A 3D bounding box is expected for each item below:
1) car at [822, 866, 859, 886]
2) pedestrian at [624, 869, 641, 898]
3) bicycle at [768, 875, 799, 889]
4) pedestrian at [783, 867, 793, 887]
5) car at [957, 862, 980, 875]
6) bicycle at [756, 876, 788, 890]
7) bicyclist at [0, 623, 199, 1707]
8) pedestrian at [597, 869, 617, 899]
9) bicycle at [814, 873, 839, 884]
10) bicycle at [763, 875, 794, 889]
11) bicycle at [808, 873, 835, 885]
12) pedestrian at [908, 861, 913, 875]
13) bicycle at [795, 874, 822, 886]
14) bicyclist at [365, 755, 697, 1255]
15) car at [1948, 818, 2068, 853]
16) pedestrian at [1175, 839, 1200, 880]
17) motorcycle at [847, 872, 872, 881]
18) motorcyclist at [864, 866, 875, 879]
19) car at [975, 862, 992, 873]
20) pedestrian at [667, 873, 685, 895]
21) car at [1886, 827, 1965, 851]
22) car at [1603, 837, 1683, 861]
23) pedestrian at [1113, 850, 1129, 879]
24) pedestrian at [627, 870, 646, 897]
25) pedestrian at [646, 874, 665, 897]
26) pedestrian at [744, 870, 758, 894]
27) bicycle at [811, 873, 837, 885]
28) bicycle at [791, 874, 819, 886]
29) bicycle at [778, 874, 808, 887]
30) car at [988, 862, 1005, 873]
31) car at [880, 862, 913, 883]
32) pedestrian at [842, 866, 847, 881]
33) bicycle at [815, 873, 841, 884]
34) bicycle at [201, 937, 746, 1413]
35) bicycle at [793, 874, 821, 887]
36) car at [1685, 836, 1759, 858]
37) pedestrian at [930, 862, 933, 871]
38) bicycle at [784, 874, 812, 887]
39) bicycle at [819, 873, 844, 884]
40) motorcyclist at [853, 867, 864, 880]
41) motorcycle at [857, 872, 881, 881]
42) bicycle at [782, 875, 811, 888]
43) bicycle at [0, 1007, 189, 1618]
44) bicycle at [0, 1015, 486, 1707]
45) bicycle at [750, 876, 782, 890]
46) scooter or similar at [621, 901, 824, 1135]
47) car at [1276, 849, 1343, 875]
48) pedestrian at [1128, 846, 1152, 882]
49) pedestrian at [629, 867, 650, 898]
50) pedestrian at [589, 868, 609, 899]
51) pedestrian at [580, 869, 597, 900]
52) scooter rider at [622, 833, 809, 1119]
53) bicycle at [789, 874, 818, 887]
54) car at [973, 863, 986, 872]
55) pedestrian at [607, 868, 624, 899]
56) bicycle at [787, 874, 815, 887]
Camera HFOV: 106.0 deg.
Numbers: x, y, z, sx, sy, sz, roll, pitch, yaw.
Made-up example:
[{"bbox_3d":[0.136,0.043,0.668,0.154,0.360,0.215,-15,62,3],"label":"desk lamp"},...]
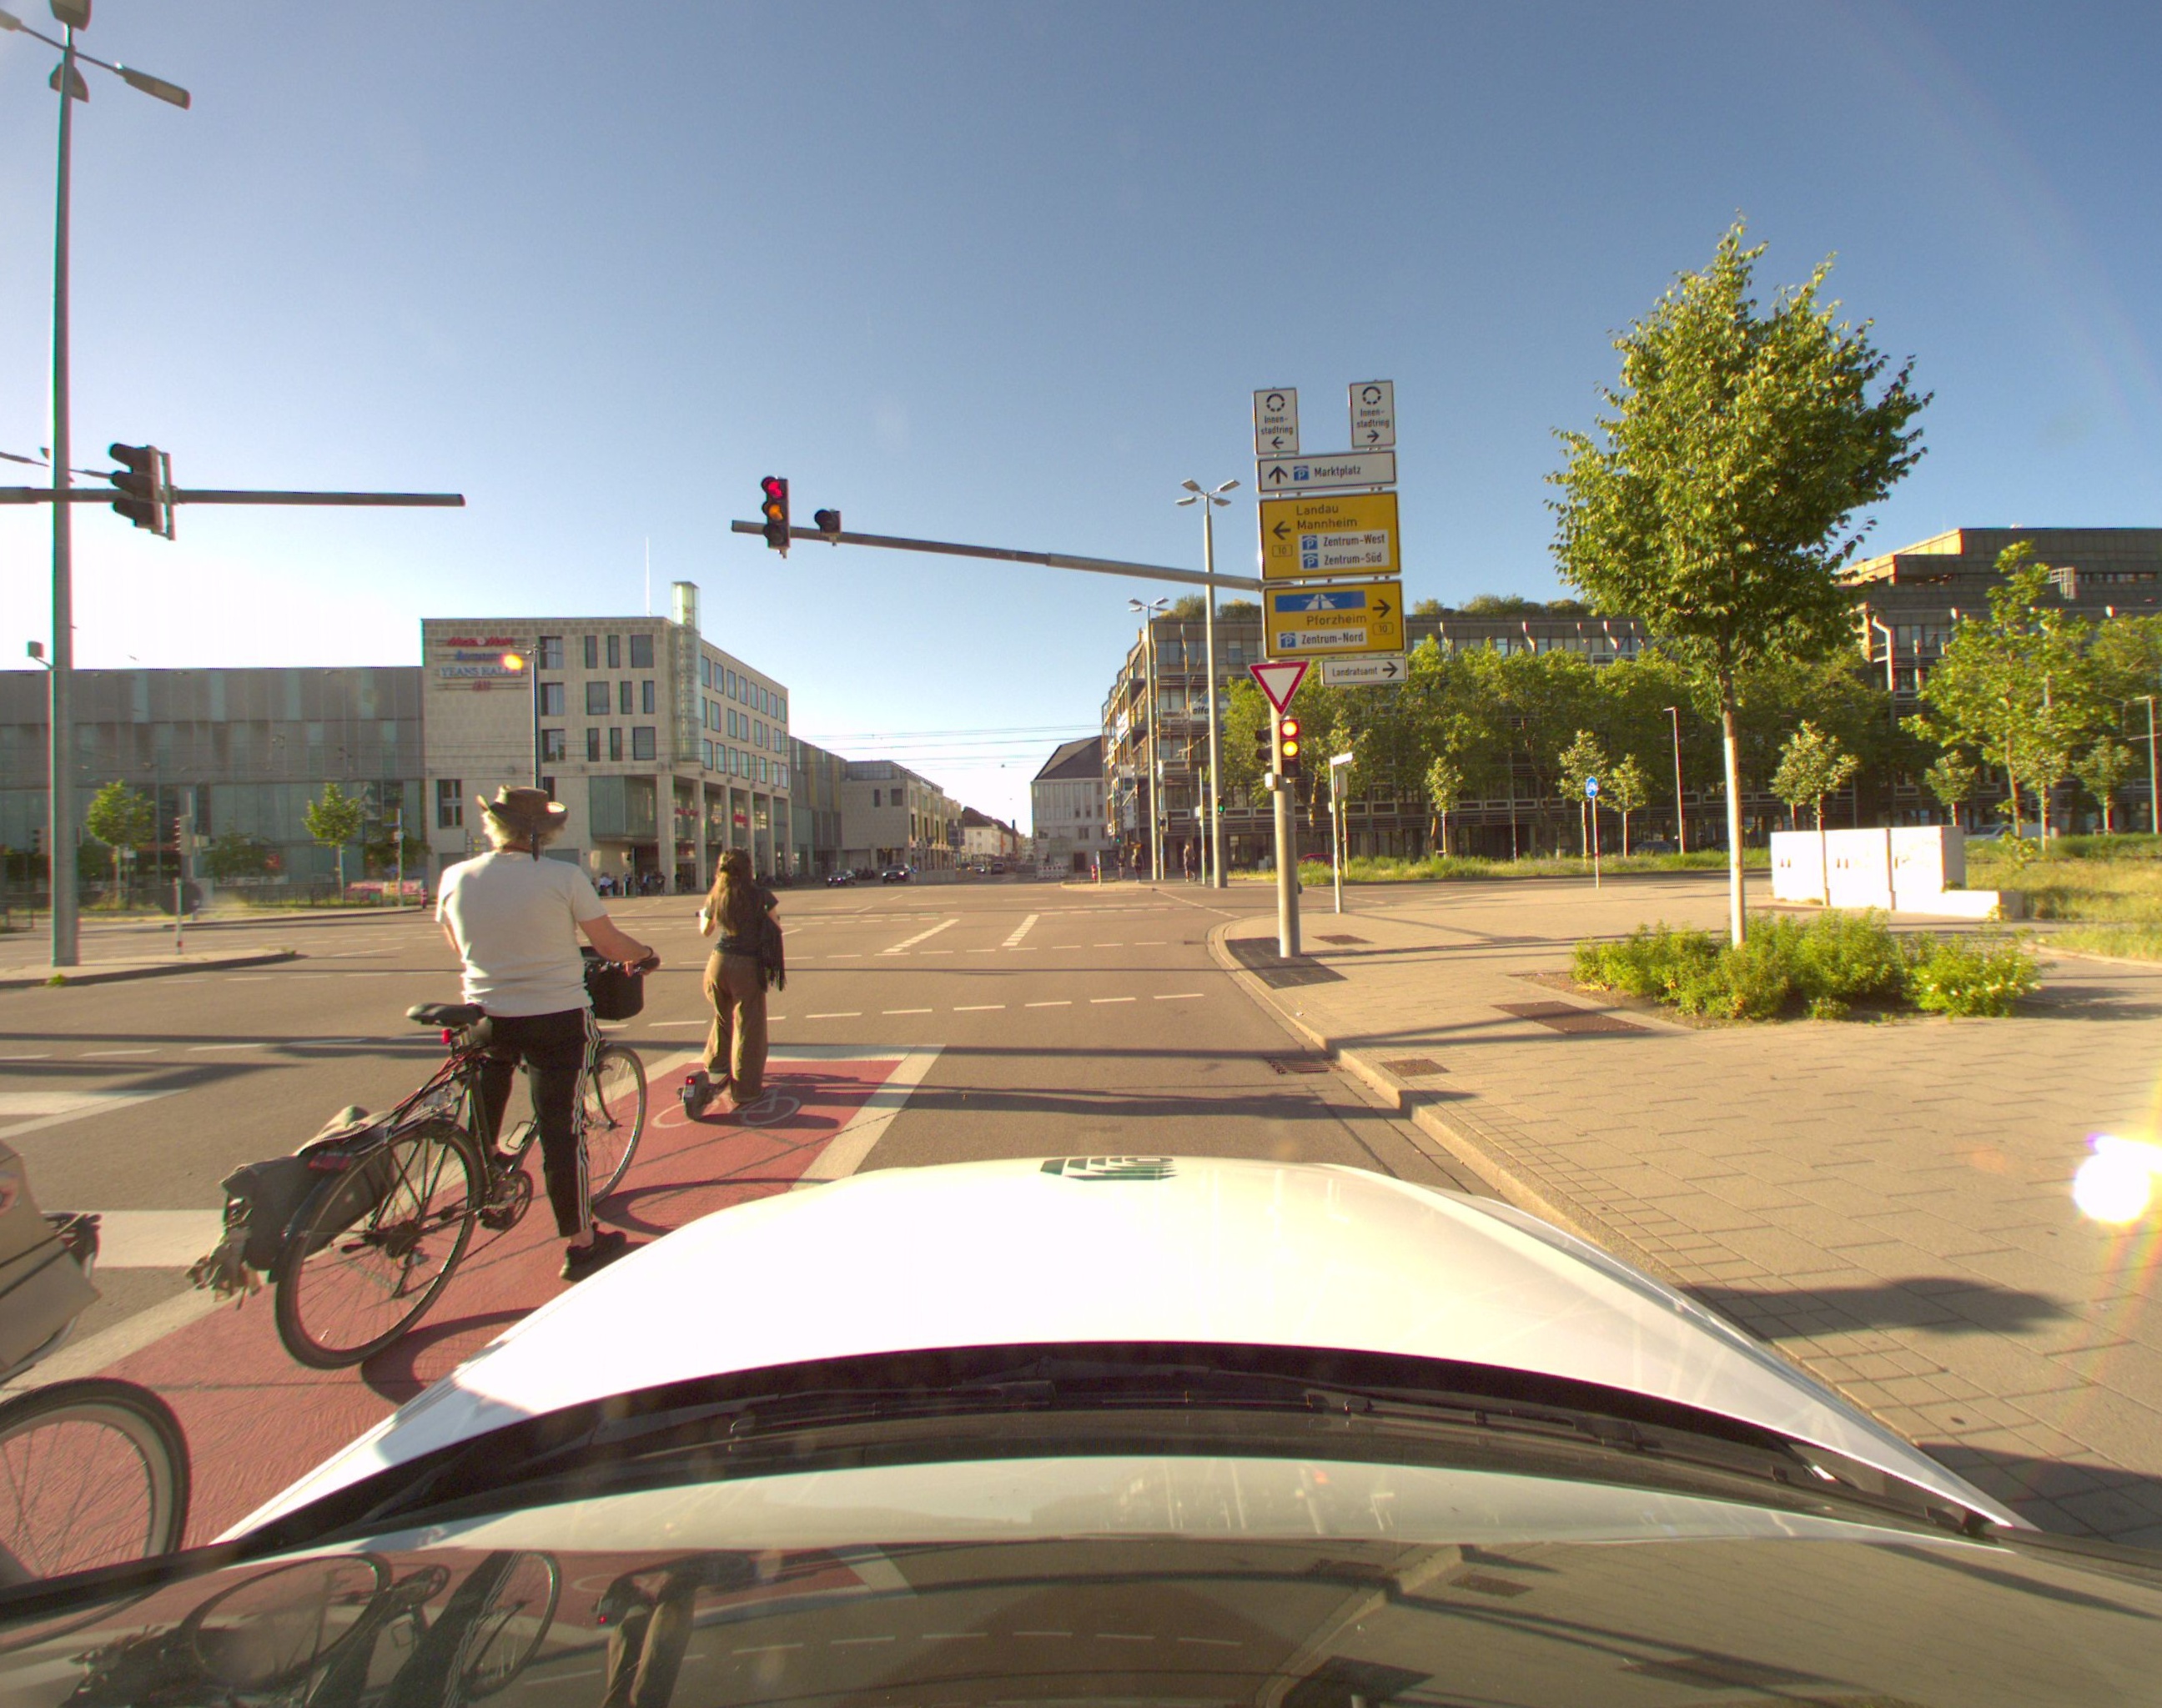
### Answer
[{"bbox_3d":[-20.821,1.893,70.688,1.931,1.581,4.293,-2,0,0],"label":"car"},{"bbox_3d":[-32.551,2.122,59.106,0.921,2.014,1.013,-1,-1,-33],"label":"pedestrian"},{"bbox_3d":[-26.611,2.481,72.875,2.458,1.111,0.684,-2,0,2],"label":"bicycle"},{"bbox_3d":[-30.285,2.347,84.131,0.949,1.982,1.000,-1,-1,-23],"label":"pedestrian"},{"bbox_3d":[-15.207,1.961,110.597,2.166,1.692,5.488,-2,-1,1],"label":"car"},{"bbox_3d":[-26.816,2.490,70.704,2.458,1.111,0.684,-2,0,2],"label":"bicycle"},{"bbox_3d":[-1.697,0.483,0.819,0.648,1.543,0.847,-2,0,1],"label":"bicyclist"},{"bbox_3d":[-34.099,2.167,58.602,0.896,2.124,0.943,-2,-1,-11],"label":"pedestrian"},{"bbox_3d":[-26.921,2.614,86.138,2.458,1.111,0.661,-2,0,2],"label":"bicycle"},{"bbox_3d":[-26.731,2.490,72.068,2.457,1.111,0.685,-2,0,4],"label":"bicycle"},{"bbox_3d":[-26.995,2.607,84.635,2.458,1.111,0.835,-2,0,2],"label":"bicycle"},{"bbox_3d":[-24.556,2.017,117.296,0.616,2.014,0.476,0,-1,-13],"label":"pedestrian"},{"bbox_3d":[-27.194,2.576,81.274,2.458,1.111,0.835,-2,0,2],"label":"bicycle"},{"bbox_3d":[-2.054,0.510,3.159,0.697,1.669,0.786,-2,0,0],"label":"bicyclist"},{"bbox_3d":[61.699,-1.243,54.245,5.680,2.014,2.262,-2,-2,-5],"label":"car"},{"bbox_3d":[4.678,0.226,35.811,0.854,1.744,0.737,-2,0,-7],"label":"pedestrian"},{"bbox_3d":[-25.916,2.665,95.141,2.664,0.996,0.914,0,-1,-6],"label":"motorcycle"},{"bbox_3d":[-25.602,2.265,98.605,1.135,1.575,0.914,0,-1,-5],"label":"motorcyclist"},{"bbox_3d":[-15.826,2.178,132.315,2.168,1.692,5.612,-2,-1,-1],"label":"car"},{"bbox_3d":[-29.193,2.148,58.668,0.950,1.571,0.832,-1,-1,-39],"label":"pedestrian"},{"bbox_3d":[64.810,-1.145,62.517,4.255,1.596,1.864,-2,-1,-4],"label":"car"},{"bbox_3d":[41.776,-0.385,60.600,4.848,1.680,1.995,-2,1,-7],"label":"car"},{"bbox_3d":[2.703,0.689,54.994,1.008,1.911,1.051,-2,0,2],"label":"pedestrian"},{"bbox_3d":[-33.559,2.207,61.537,0.914,2.014,1.020,-2,-1,-10],"label":"pedestrian"},{"bbox_3d":[-31.076,2.275,59.457,1.014,1.651,0.937,-1,-1,-45],"label":"pedestrian"},{"bbox_3d":[-25.439,2.153,62.732,0.748,1.740,0.756,-2,-1,-1],"label":"pedestrian"},{"bbox_3d":[-26.939,2.602,85.433,2.458,1.111,0.661,-2,0,2],"label":"bicycle"},{"bbox_3d":[-27.139,2.565,80.021,2.458,1.111,0.684,-2,0,2],"label":"bicycle"},{"bbox_3d":[-26.406,2.402,74.662,2.458,1.111,0.684,-2,0,2],"label":"bicycle"},{"bbox_3d":[-11.239,1.779,108.662,1.931,1.450,4.259,-2,-1,-2],"label":"car"},{"bbox_3d":[-15.675,1.557,69.428,1.933,1.677,4.290,-2,-1,-3],"label":"car"},{"bbox_3d":[-33.175,2.724,114.290,0.616,2.014,0.476,0,-1,-13],"label":"pedestrian"},{"bbox_3d":[-26.977,2.629,86.831,2.458,1.111,0.631,-2,0,2],"label":"bicycle"},{"bbox_3d":[-2.034,0.967,3.129,0.704,1.094,1.800,-2,0,0],"label":"bicycle"},{"bbox_3d":[-26.605,2.546,79.050,2.458,1.111,0.835,-2,0,2],"label":"bicycle"},{"bbox_3d":[47.924,-0.512,60.945,3.976,1.521,1.999,-2,0,-2],"label":"car"},{"bbox_3d":[-23.926,2.039,130.502,0.487,1.356,0.563,0,-1,-4],"label":"pedestrian"},{"bbox_3d":[-26.679,2.537,76.808,2.458,1.111,0.538,-2,0,2],"label":"bicycle"},{"bbox_3d":[-26.956,2.627,88.081,2.458,1.111,0.661,-2,0,2],"label":"bicycle"},{"bbox_3d":[-26.000,2.267,95.127,1.035,1.471,0.914,0,-1,-5],"label":"motorcyclist"},{"bbox_3d":[-25.623,2.692,98.585,2.664,0.996,0.914,0,-1,-6],"label":"motorcycle"},{"bbox_3d":[-26.646,2.531,76.228,2.458,1.111,0.594,-2,0,2],"label":"bicycle"},{"bbox_3d":[-2.425,0.927,0.997,0.621,1.116,1.816,-2,0,1],"label":"bicycle"},{"bbox_3d":[-1.686,0.918,0.924,0.648,1.094,1.800,-2,0,1],"label":"bicycle"},{"bbox_3d":[-26.834,2.490,69.358,2.394,1.113,0.658,-2,0,1],"label":"bicycle"},{"bbox_3d":[-2.182,0.934,5.170,0.640,1.175,1.483,-1,0,-1],"label":"scooter or similar"},{"bbox_3d":[15.140,0.553,54.063,3.860,1.486,1.843,-2,-3,-4],"label":"car"},{"bbox_3d":[2.634,0.458,36.470,0.894,1.549,0.922,-2,1,-5],"label":"pedestrian"},{"bbox_3d":[-31.394,2.025,57.902,1.069,2.129,1.085,-1,-1,-41],"label":"pedestrian"},{"bbox_3d":[-33.936,2.098,57.345,0.895,2.124,0.944,-2,-1,-10],"label":"pedestrian"},{"bbox_3d":[-35.249,2.174,58.281,0.900,2.124,0.939,-1,-1,-25],"label":"pedestrian"},{"bbox_3d":[-2.174,0.662,4.989,0.640,1.544,1.116,-1,0,-1],"label":"scooter rider"},{"bbox_3d":[-26.656,2.541,78.231,2.458,1.111,0.684,-2,0,2],"label":"bicycle"},{"bbox_3d":[-21.572,2.807,173.027,2.168,1.873,5.610,-2,-1,-2],"label":"car"},{"bbox_3d":[-32.502,2.024,56.884,0.902,2.124,0.936,-1,-1,-36],"label":"pedestrian"},{"bbox_3d":[-26.616,2.542,77.453,2.458,1.111,0.684,-2,0,2],"label":"bicycle"}]
